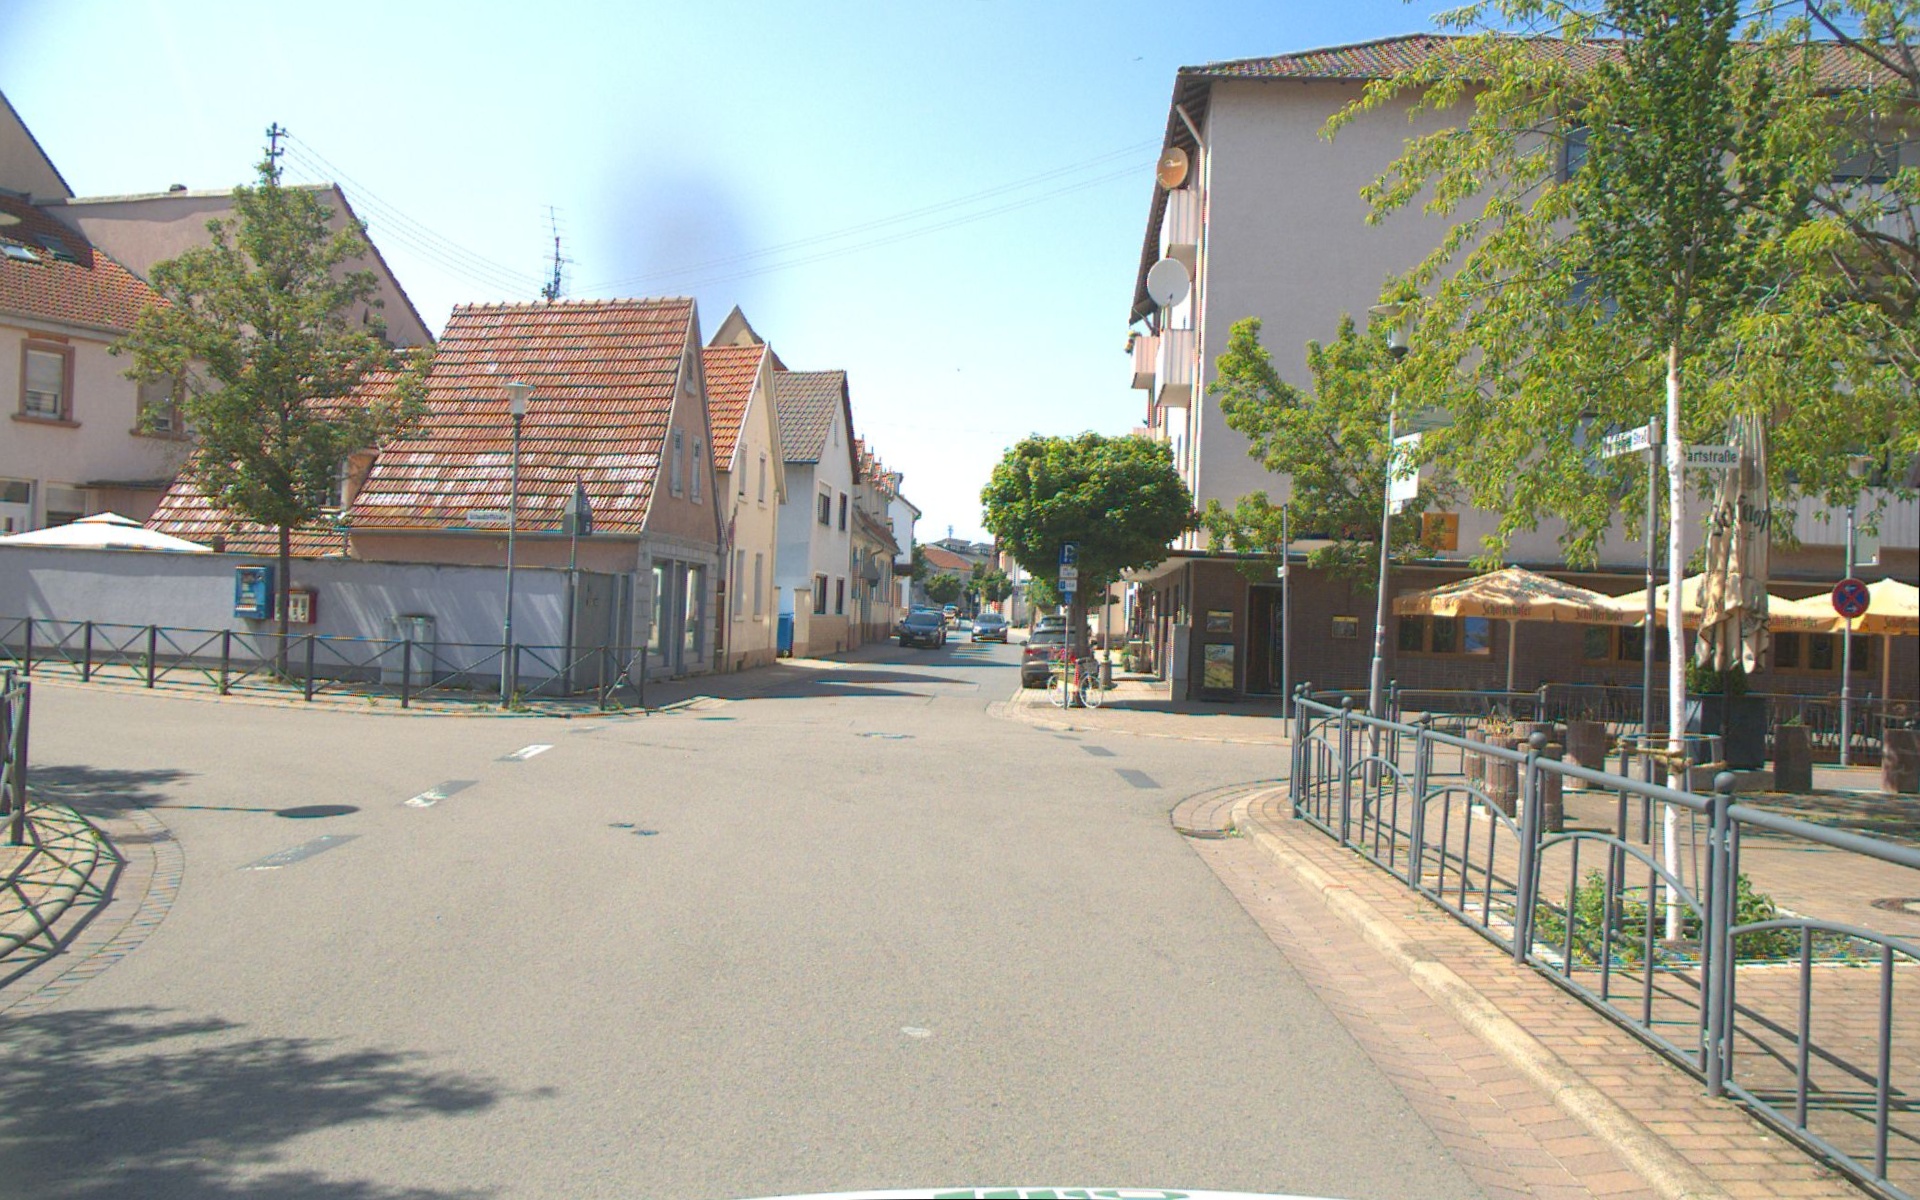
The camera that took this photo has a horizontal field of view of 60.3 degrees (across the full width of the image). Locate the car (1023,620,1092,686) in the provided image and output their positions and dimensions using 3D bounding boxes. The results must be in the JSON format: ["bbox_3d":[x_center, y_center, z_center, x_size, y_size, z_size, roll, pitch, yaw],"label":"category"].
[{"bbox_3d":[2.382,1.233,39.839,1.543,1.479,3.488,1,-1,5],"label":"car"}]

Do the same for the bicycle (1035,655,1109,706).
[{"bbox_3d":[2.106,1.506,31.208,1.388,0.913,0.462,0,0,40],"label":"bicycle"}]

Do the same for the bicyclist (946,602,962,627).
[{"bbox_3d":[-0.432,1.001,112.586,1.025,1.666,1.128,1,-1,-3],"label":"bicyclist"}]

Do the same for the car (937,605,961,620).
[{"bbox_3d":[-1.259,1.439,191.612,1.984,1.626,4.512,1,0,9],"label":"car"}]

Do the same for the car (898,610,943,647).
[{"bbox_3d":[-1.668,1.188,71.119,1.628,1.502,4.135,1,0,2],"label":"car"}]

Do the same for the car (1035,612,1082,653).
[{"bbox_3d":[4.373,1.408,73.662,2.000,1.718,4.843,1,0,3],"label":"car"}]

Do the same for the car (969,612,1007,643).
[{"bbox_3d":[1.452,1.429,84.808,1.870,1.507,4.844,2,-1,1],"label":"car"}]

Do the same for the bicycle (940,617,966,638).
[{"bbox_3d":[-0.496,1.855,112.452,1.591,1.394,3.923,1,0,-3],"label":"bicycle"}]

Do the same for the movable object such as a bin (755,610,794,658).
[{"bbox_3d":[-5.592,1.025,49.871,1.078,1.389,0.390,1,-1,6],"label":"movable object such as a bin"}]
